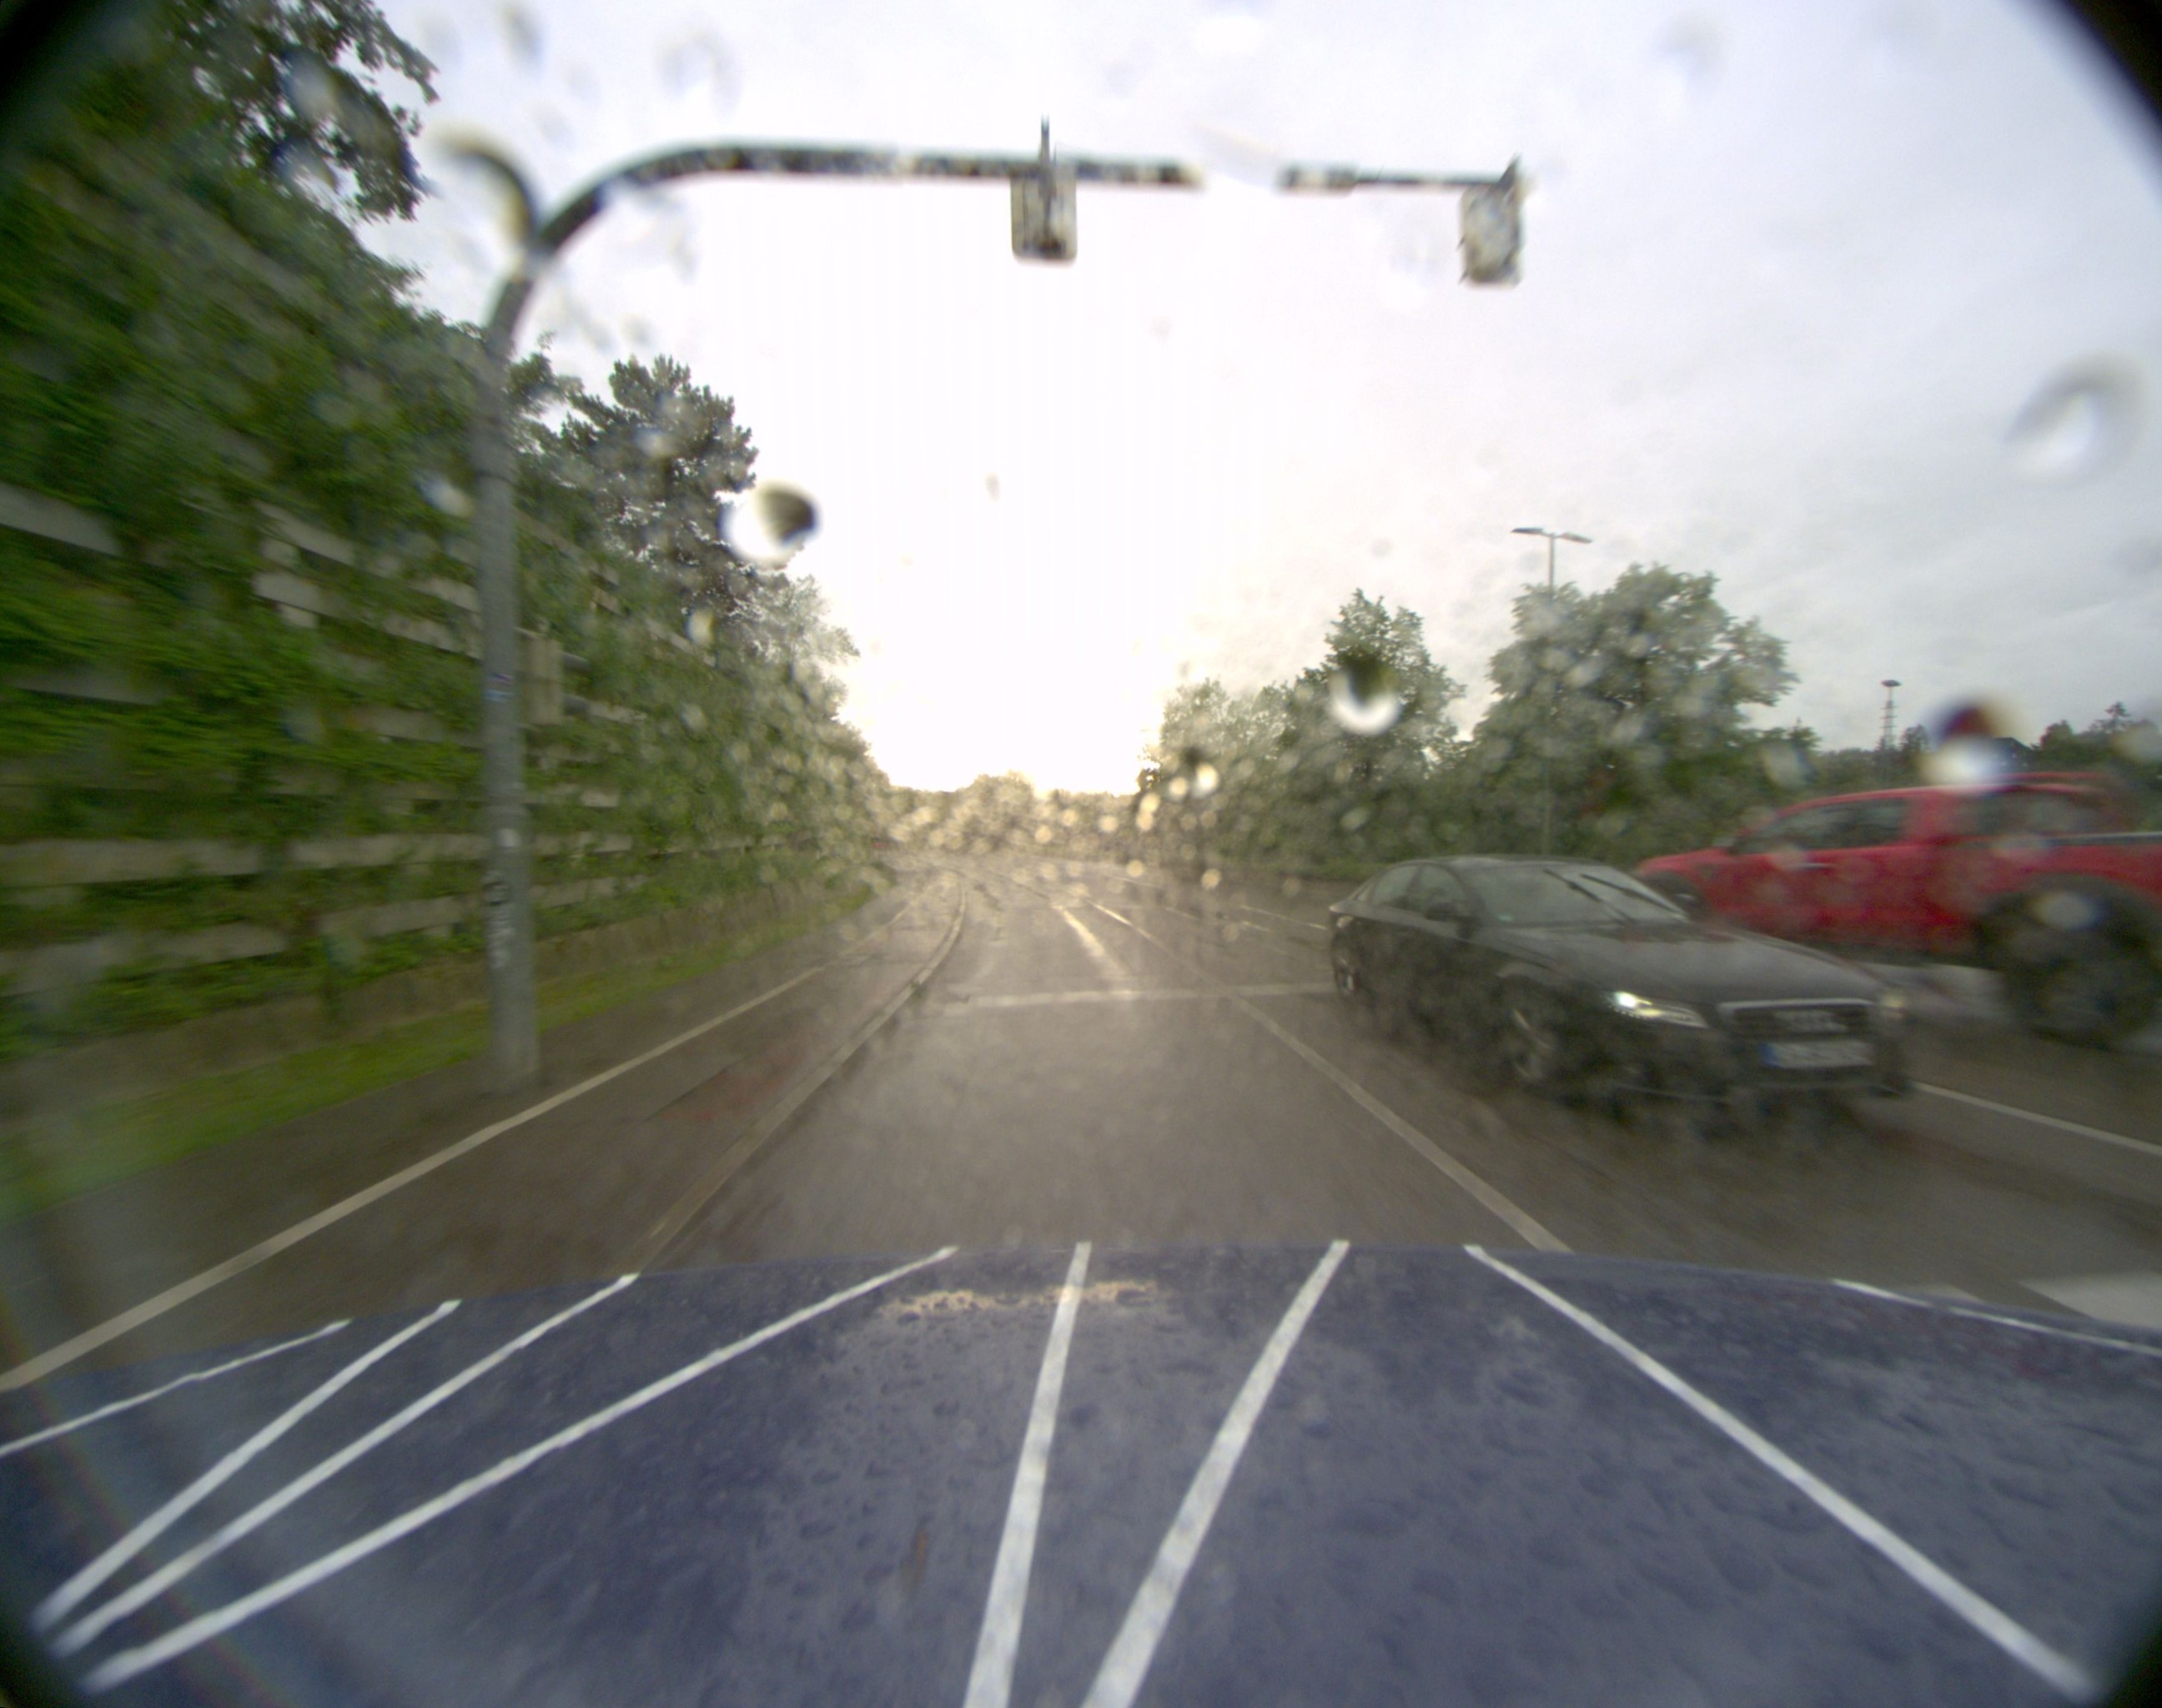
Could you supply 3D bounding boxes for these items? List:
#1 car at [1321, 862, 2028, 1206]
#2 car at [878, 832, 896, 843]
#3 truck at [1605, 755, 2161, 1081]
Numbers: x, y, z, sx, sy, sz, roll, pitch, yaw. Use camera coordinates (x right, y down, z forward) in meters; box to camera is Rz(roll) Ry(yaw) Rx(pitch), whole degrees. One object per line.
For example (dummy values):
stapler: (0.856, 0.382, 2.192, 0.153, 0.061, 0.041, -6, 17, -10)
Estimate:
car: (3.356, 0.827, 5.444, 1.760, 1.387, 3.998, -1, 1, -4)
car: (-28.826, -2.433, 112.905, 1.762, 1.526, 3.991, -1, 0, -27)
truck: (7.496, 0.369, 6.546, 1.999, 2.002, 5.335, -1, 0, -4)
